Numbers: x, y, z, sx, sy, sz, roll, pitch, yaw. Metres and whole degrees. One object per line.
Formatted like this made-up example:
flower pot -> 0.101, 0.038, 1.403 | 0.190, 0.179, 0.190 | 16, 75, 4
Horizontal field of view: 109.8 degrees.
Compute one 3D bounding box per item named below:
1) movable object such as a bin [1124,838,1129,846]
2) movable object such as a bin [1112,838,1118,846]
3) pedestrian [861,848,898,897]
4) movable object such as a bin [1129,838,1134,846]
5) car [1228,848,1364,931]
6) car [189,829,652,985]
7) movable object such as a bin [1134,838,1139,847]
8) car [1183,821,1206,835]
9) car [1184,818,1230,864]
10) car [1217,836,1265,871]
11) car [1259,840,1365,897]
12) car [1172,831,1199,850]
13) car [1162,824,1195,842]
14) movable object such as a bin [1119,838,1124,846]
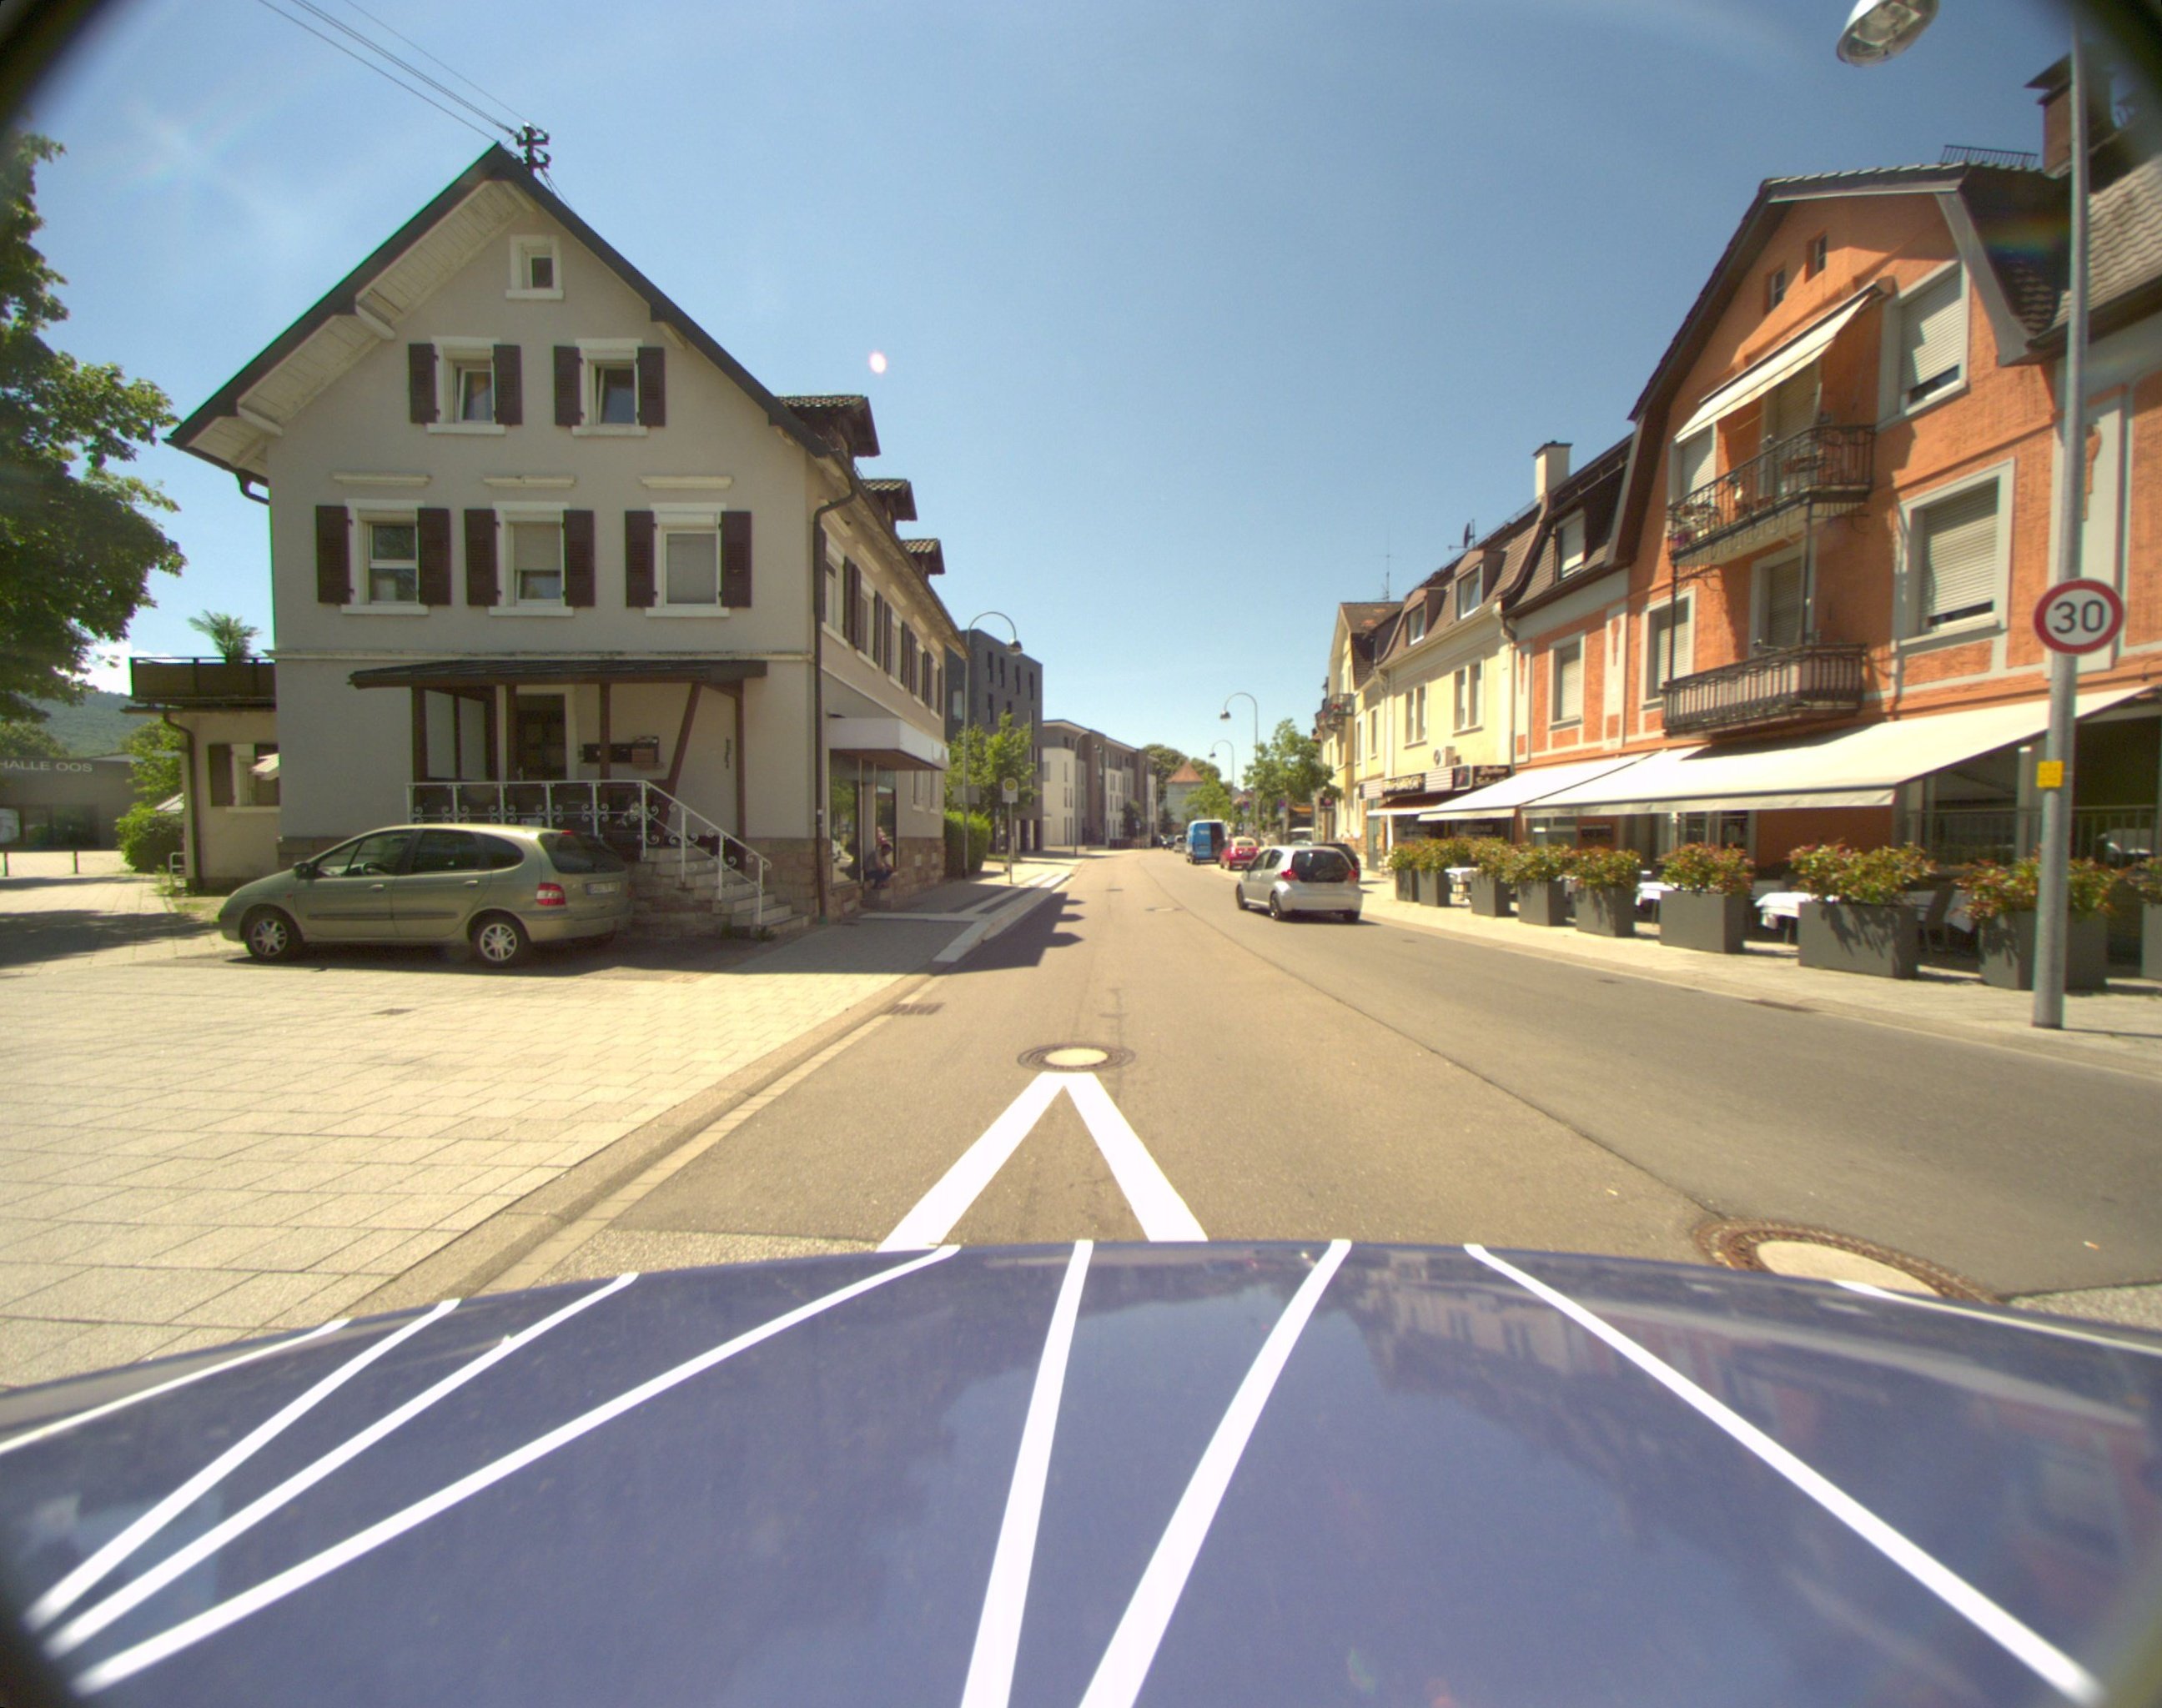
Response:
movable object such as a bin -> 5.188, -1.343, 86.295 | 0.473, 0.926, 0.529 | 2, 3, 19
movable object such as a bin -> 3.906, -1.377, 86.601 | 0.473, 0.926, 0.529 | 2, 3, 19
pedestrian -> -4.232, 0.376, 15.988 | 0.591, 0.994, 0.723 | 1, 2, -3
movable object such as a bin -> 5.739, -1.330, 86.122 | 0.473, 0.926, 0.529 | 2, 3, 19
car -> 4.276, 0.639, 15.638 | 1.579, 1.442, 3.468 | 1, 2, -4
car -> -7.734, 0.553, 9.197 | 4.070, 1.586, 1.802 | 2, 2, 2
movable object such as a bin -> 6.252, -1.315, 85.950 | 0.473, 0.926, 0.529 | 2, 3, 19
car -> 12.687, -2.872, 84.546 | 1.917, 1.419, 3.985 | 0, 1, 18
car -> 7.339, -0.790, 44.725 | 2.097, 2.484, 5.503 | -2, 2, 4
car -> 7.542, -0.063, 35.985 | 1.563, 1.512, 3.514 | -1, 3, 1
car -> 6.923, 0.365, 23.251 | 1.920, 1.473, 4.336 | -3, 2, 1
car -> 10.887, -1.413, 79.011 | 1.996, 1.812, 4.420 | 2, 2, 17
car -> 15.701, -3.378, 122.543 | 4.860, 2.721, 1.853 | 1, 3, 19
movable object such as a bin -> 4.598, -1.363, 86.429 | 0.473, 0.926, 0.529 | 2, 3, 19
